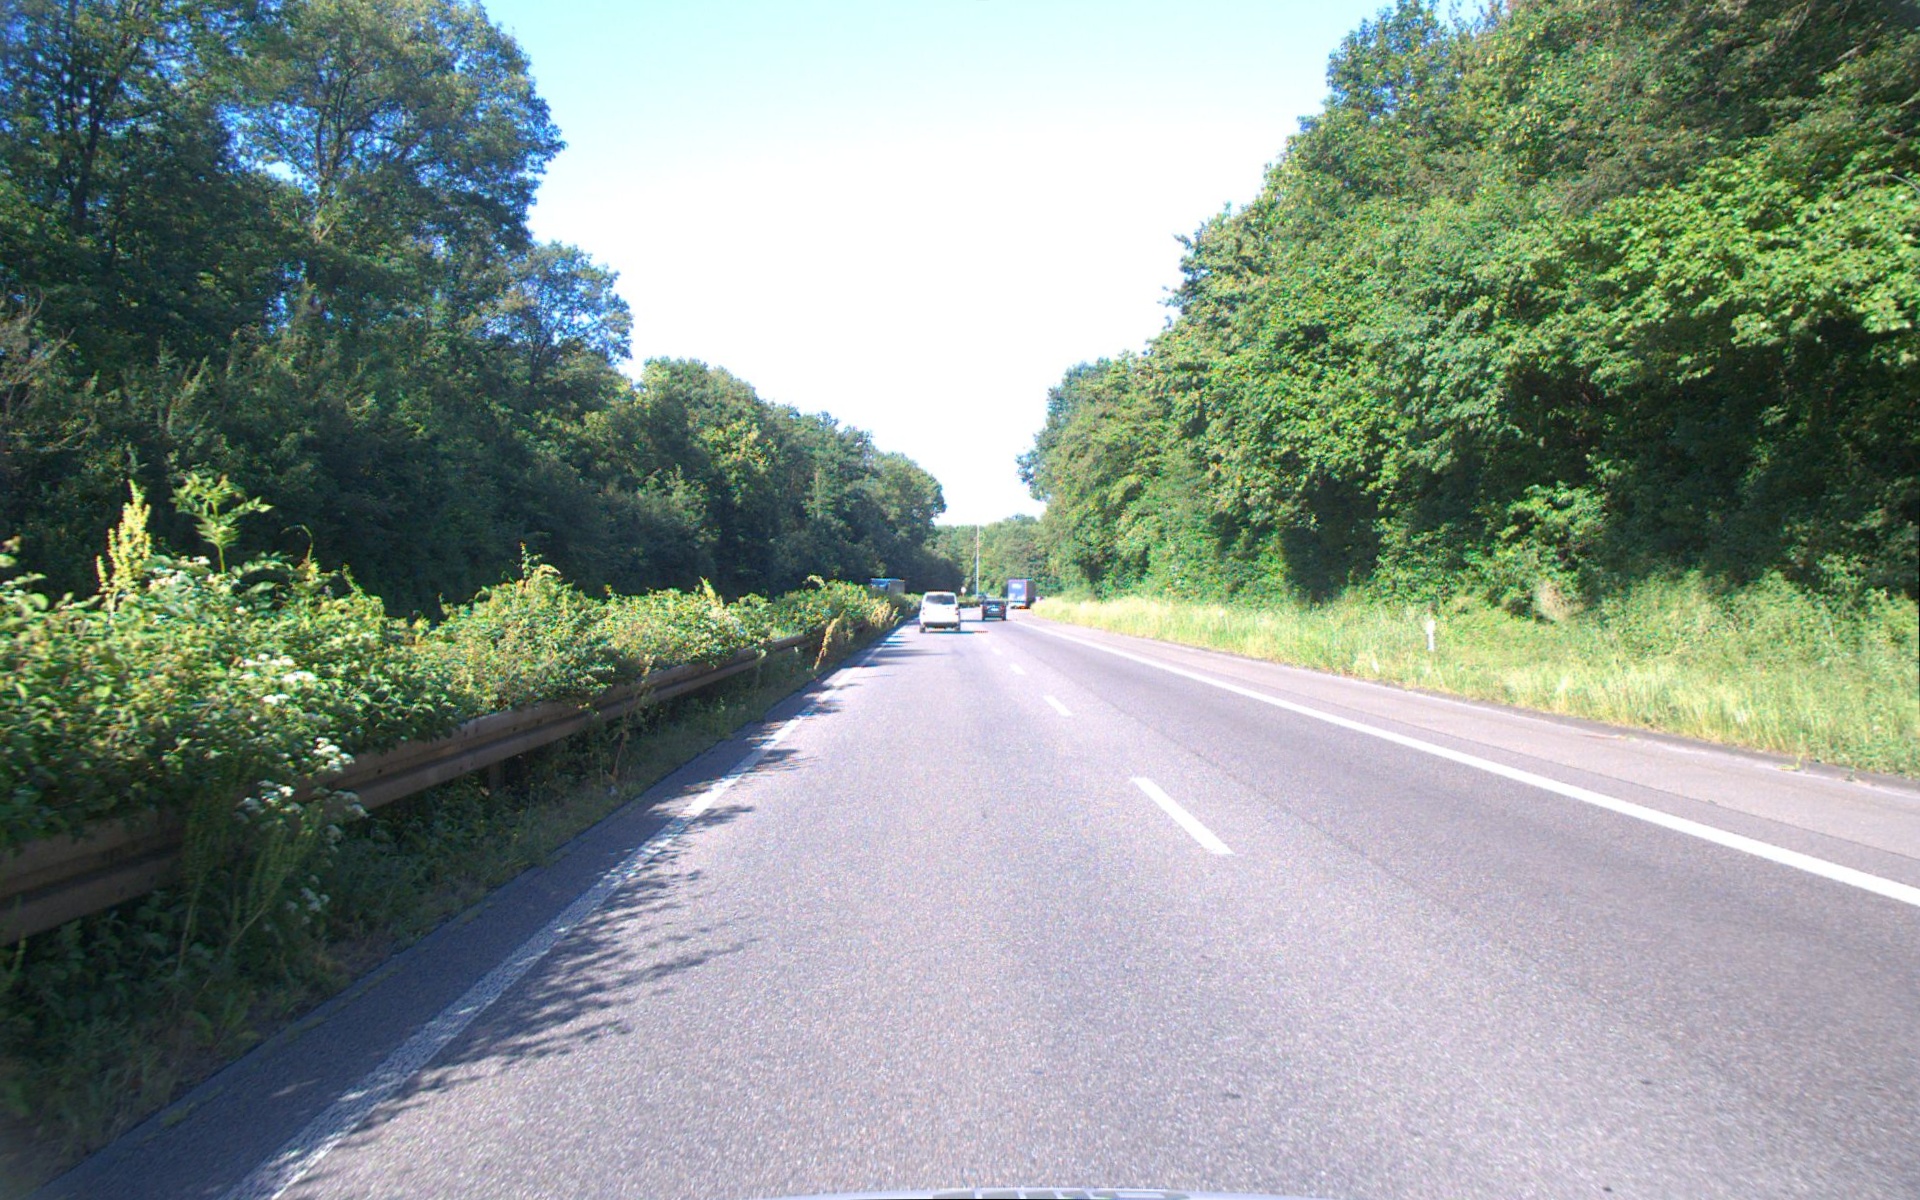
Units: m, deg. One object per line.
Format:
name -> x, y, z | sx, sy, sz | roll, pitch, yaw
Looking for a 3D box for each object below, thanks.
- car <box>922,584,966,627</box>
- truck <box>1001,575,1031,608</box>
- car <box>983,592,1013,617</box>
car -> -0.745, 0.255, 74.197 | 1.912, 1.813, 4.586 | 1, 0, -1
truck -> 7.941, -1.126, 233.111 | 3.655, 4.419, 9.310 | 1, 0, 5
car -> 2.744, 0.332, 120.106 | 1.912, 1.813, 4.586 | 1, 0, -1
